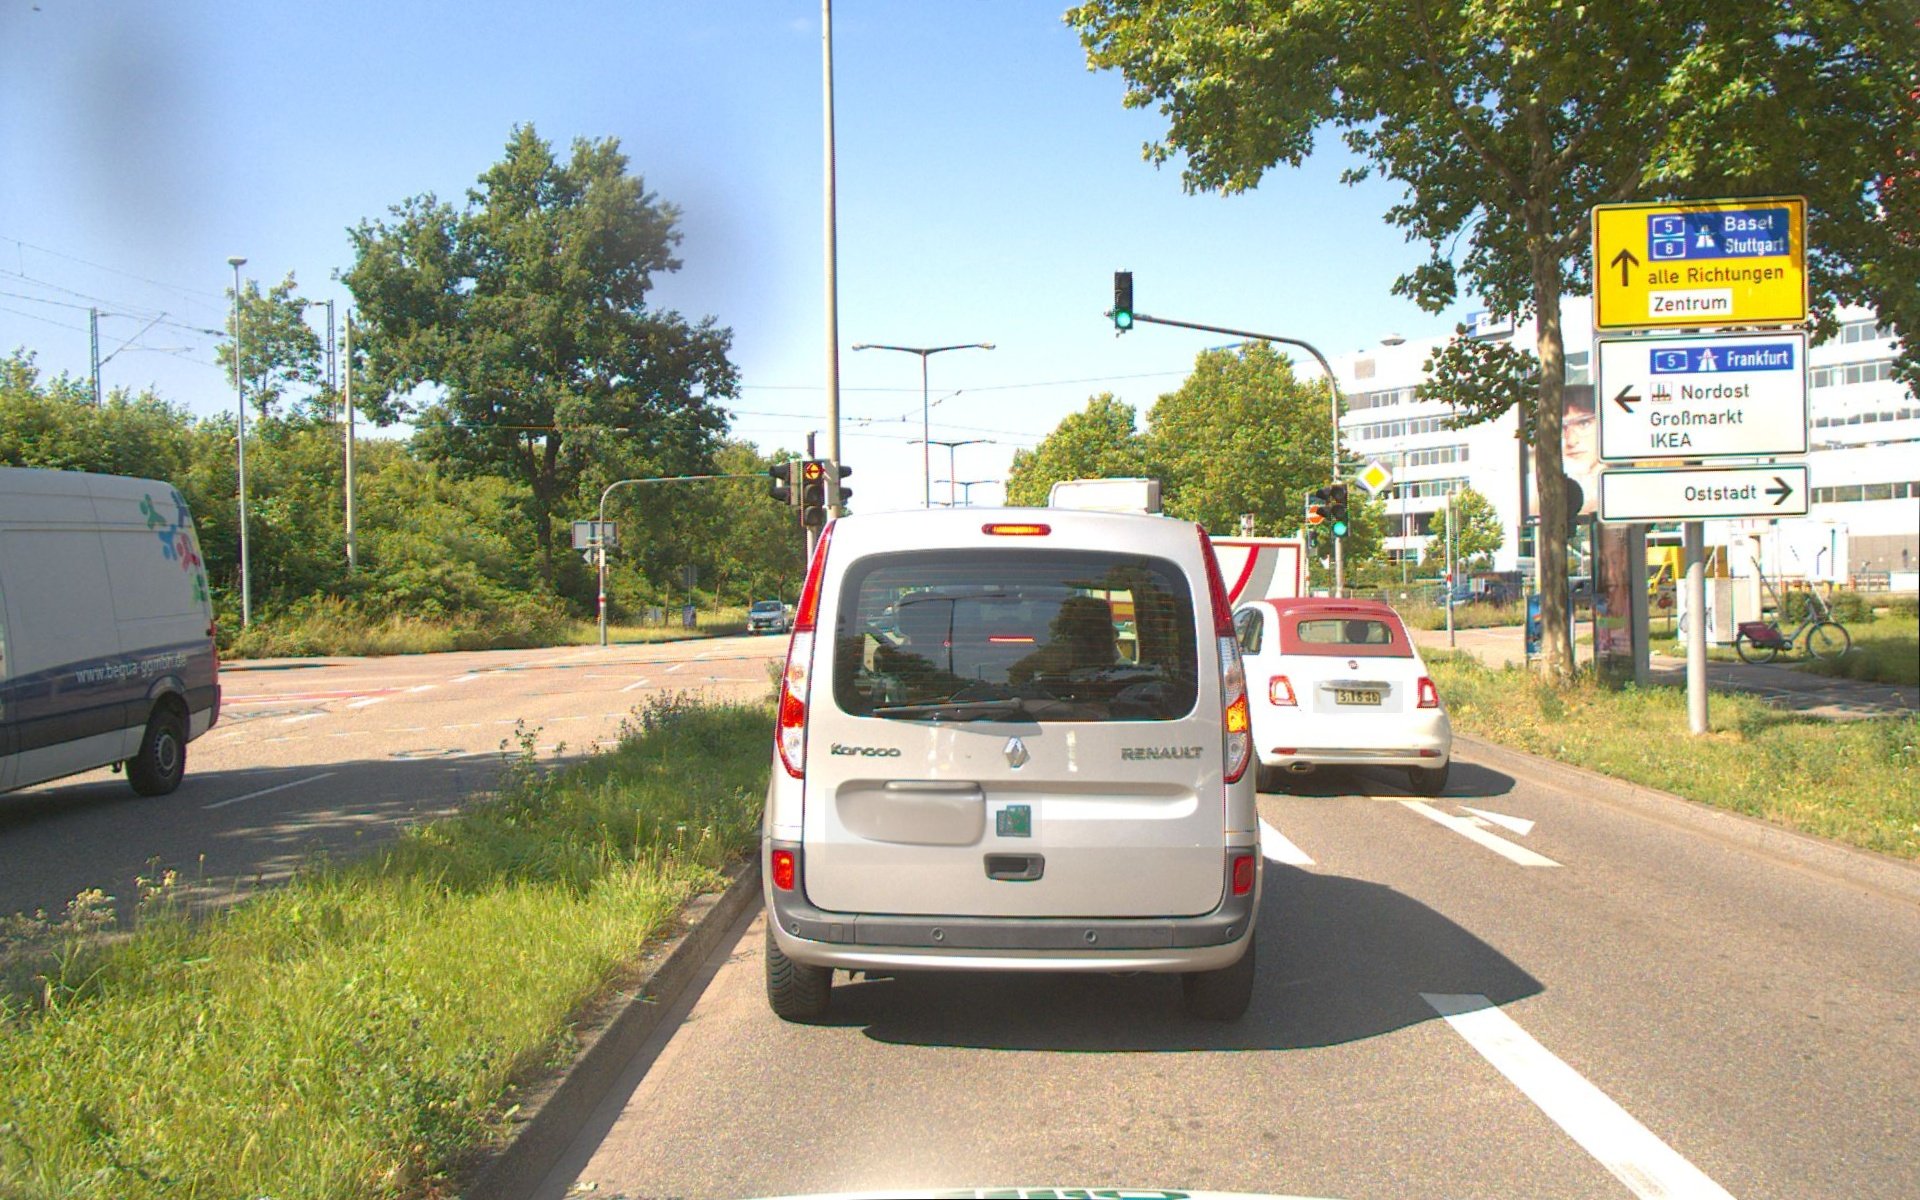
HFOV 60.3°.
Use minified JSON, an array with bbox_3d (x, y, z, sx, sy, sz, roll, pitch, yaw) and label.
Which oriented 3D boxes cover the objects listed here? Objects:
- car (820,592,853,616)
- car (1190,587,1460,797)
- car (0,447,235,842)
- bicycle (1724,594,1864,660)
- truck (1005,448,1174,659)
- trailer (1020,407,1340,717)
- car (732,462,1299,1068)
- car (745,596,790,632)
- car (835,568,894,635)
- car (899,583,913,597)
[{"bbox_3d":[-8.801,0.274,118.110,1.872,1.670,3.738,-1,0,2],"label":"car"},{"bbox_3d":[2.959,0.693,14.005,1.507,1.541,3.259,1,0,-1],"label":"car"},{"bbox_3d":[-7.590,0.329,12.186,1.953,2.709,5.785,-2,0,-1],"label":"car"},{"bbox_3d":[13.670,0.439,27.156,1.959,1.031,0.621,-1,0,16],"label":"bicycle"},{"bbox_3d":[2.742,-0.810,32.839,2.848,3.707,7.195,1,0,8],"label":"truck"},{"bbox_3d":[2.899,-0.434,26.305,2.842,3.686,12.679,1,0,-2],"label":"trailer"},{"bbox_3d":[0.150,0.526,7.184,1.750,1.870,3.999,1,0,-1],"label":"car"},{"bbox_3d":[-8.904,0.617,76.850,1.665,1.534,3.999,-1,1,-1],"label":"car"},{"bbox_3d":[-3.974,0.081,69.634,1.952,2.653,5.135,-1,0,2],"label":"car"},{"bbox_3d":[-8.217,-1.519,250.361,1.849,2.049,4.001,1,0,1],"label":"car"}]
